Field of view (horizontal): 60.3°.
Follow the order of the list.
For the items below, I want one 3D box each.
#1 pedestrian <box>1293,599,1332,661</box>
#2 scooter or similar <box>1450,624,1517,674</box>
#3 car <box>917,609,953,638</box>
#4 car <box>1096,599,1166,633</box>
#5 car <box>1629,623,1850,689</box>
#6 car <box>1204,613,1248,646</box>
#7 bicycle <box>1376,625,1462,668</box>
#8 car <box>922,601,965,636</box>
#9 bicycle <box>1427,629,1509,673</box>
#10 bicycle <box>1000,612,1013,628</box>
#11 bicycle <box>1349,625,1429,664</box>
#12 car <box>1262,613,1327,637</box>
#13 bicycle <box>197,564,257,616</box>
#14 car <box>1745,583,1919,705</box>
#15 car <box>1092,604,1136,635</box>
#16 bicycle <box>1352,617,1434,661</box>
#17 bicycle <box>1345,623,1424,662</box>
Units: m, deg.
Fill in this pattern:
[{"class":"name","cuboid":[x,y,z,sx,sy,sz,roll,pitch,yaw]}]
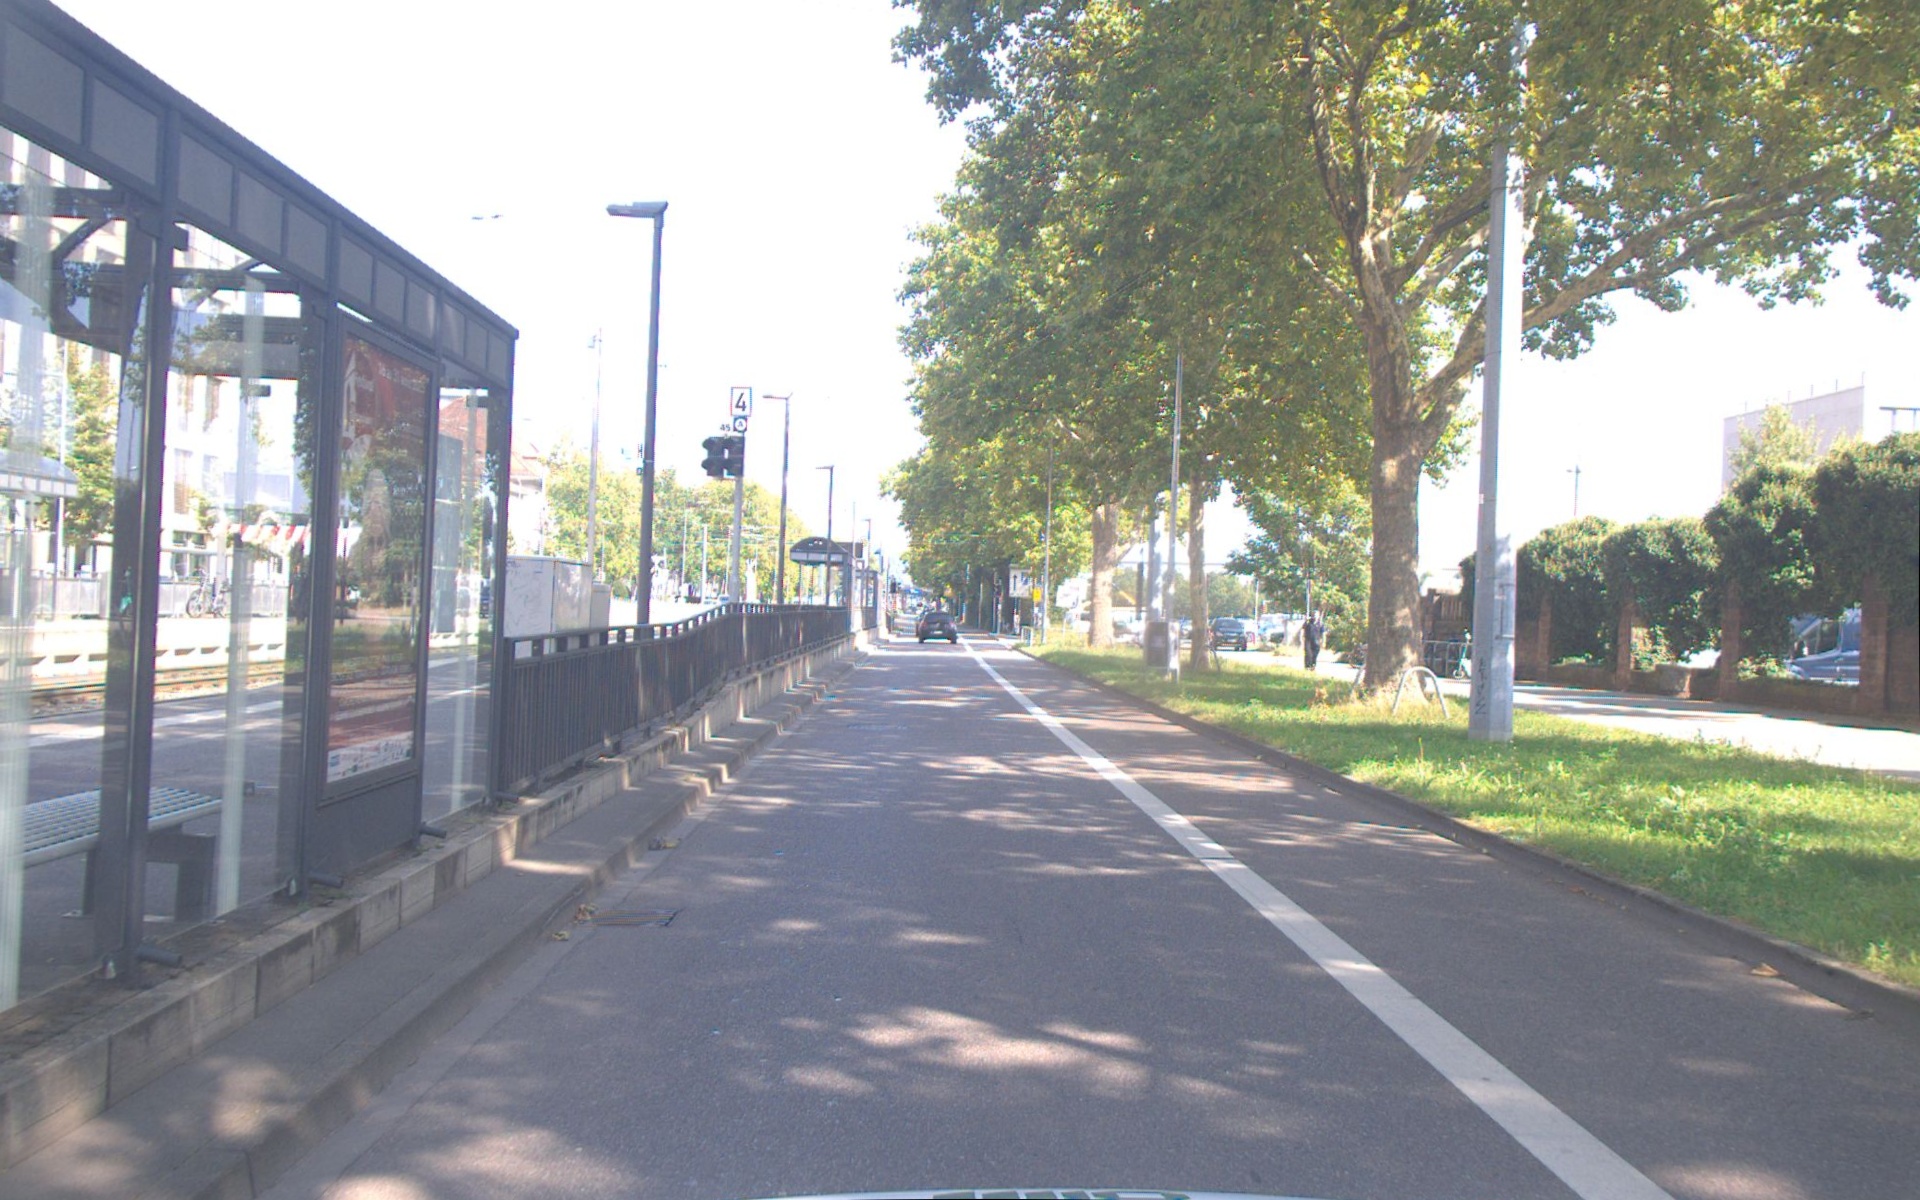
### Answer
[{"class":"pedestrian","cuboid":[9.000,0.750,42.206,0.768,1.541,0.786,2,0,-2]},{"class":"scooter or similar","cuboid":[12.980,1.204,41.030,1.474,1.212,0.539,0,-1,2]},{"class":"car","cuboid":[-1.473,1.335,95.775,1.934,1.564,3.998,-1,0,-2]},{"class":"car","cuboid":[10.084,0.936,97.761,4.018,1.952,1.848,1,0,1]},{"class":"car","cuboid":[20.074,1.424,42.656,4.806,1.505,2.181,2,0,-11]},{"class":"car","cuboid":[13.768,1.512,85.709,1.575,1.603,3.795,1,0,-1]},{"class":"bicycle","cuboid":[12.564,1.266,45.324,2.130,1.095,0.743,2,-1,-3]},{"class":"car","cuboid":[-0.794,0.857,76.333,1.869,1.564,3.998,0,0,-2]},{"class":"bicycle","cuboid":[12.923,1.298,42.064,1.830,1.024,0.734,2,-1,-3]},{"class":"bicycle","cuboid":[3.181,1.347,113.050,0.598,1.040,2.400,2,0,-5]},{"class":"bicycle","cuboid":[12.319,1.275,47.527,2.128,1.095,0.743,0,-1,2]},{"class":"car","cuboid":[24.205,1.796,119.714,4.258,1.489,1.946,3,-1,-3]},{"class":"bicycle","cuboid":[-17.464,-0.230,39.431,0.461,1.167,1.485,2,-1,13]},{"class":"car","cuboid":[20.256,0.974,35.951,5.265,2.477,2.250,2,-1,0]},{"class":"car","cuboid":[7.826,0.969,84.341,1.693,1.474,4.549,1,0,-1]},{"class":"bicycle","cuboid":[13.033,1.182,49.864,2.199,1.299,0.998,0,-1,-2]},{"class":"bicycle","cuboid":[12.390,1.240,48.346,2.128,1.095,0.743,0,-1,2]}]
